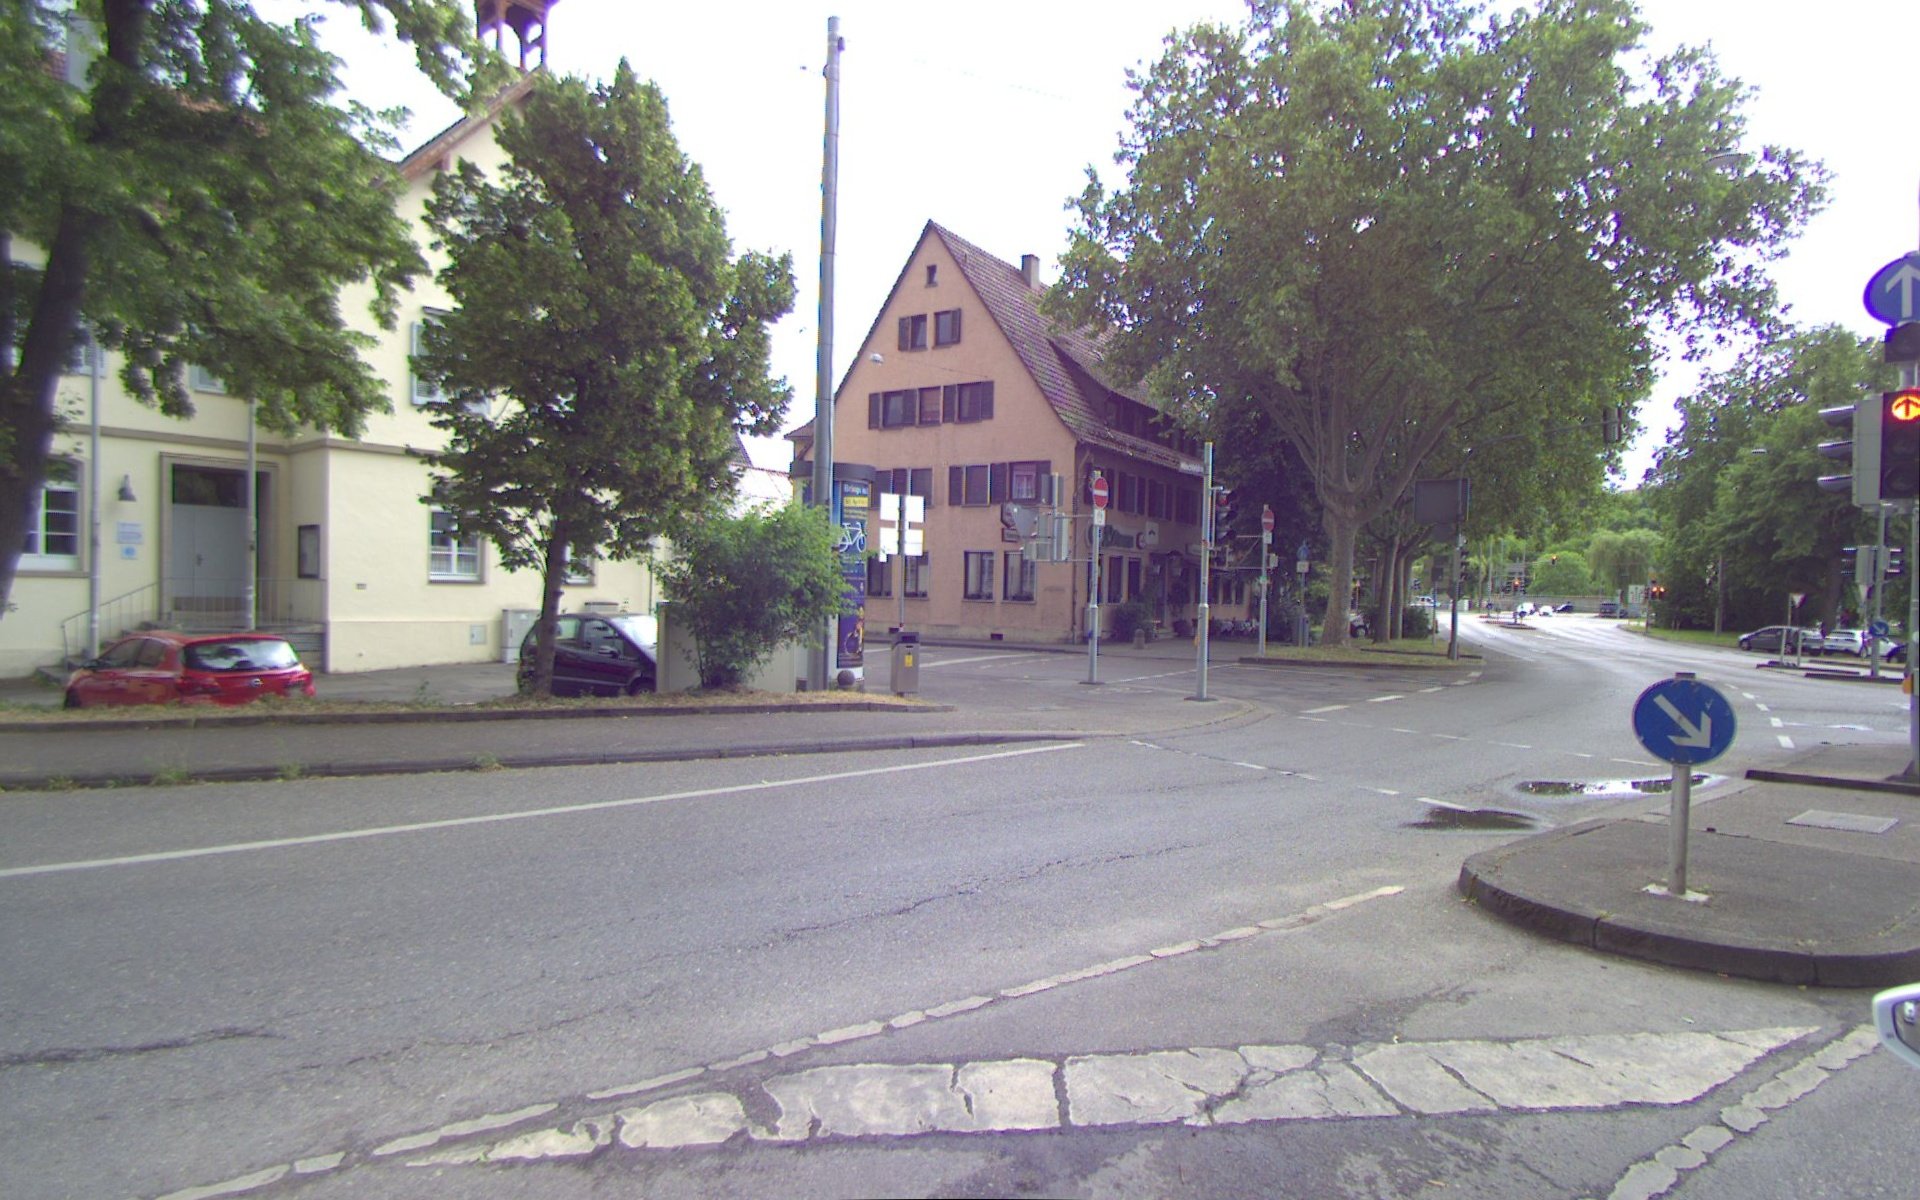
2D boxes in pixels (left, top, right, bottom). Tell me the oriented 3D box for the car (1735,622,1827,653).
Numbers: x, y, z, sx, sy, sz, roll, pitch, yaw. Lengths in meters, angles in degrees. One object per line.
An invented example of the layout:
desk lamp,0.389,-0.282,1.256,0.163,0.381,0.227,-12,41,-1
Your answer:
car,43.862,1.969,53.761,1.559,1.484,3.543,2,0,-17

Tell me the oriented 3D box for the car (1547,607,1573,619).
car,108.222,2.320,181.094,3.928,2.040,1.996,2,0,30

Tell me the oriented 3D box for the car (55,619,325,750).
car,-10.174,1.012,13.244,3.492,1.397,1.605,2,0,30

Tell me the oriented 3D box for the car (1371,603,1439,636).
car,25.468,1.086,57.467,3.387,1.765,1.570,2,0,28

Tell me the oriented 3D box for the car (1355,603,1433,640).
car,21.407,1.047,49.582,3.387,1.663,1.570,2,0,28

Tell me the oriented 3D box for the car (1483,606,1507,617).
car,100.707,2.131,188.939,3.928,2.040,1.996,2,0,30

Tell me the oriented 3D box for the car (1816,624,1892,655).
car,47.301,2.082,53.162,3.342,1.484,1.543,2,0,-19

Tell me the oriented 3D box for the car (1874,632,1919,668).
car,39.569,2.078,40.945,1.442,1.412,3.596,2,0,3

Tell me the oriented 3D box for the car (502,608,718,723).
car,-5.763,1.005,16.592,3.035,1.654,1.607,2,0,22
